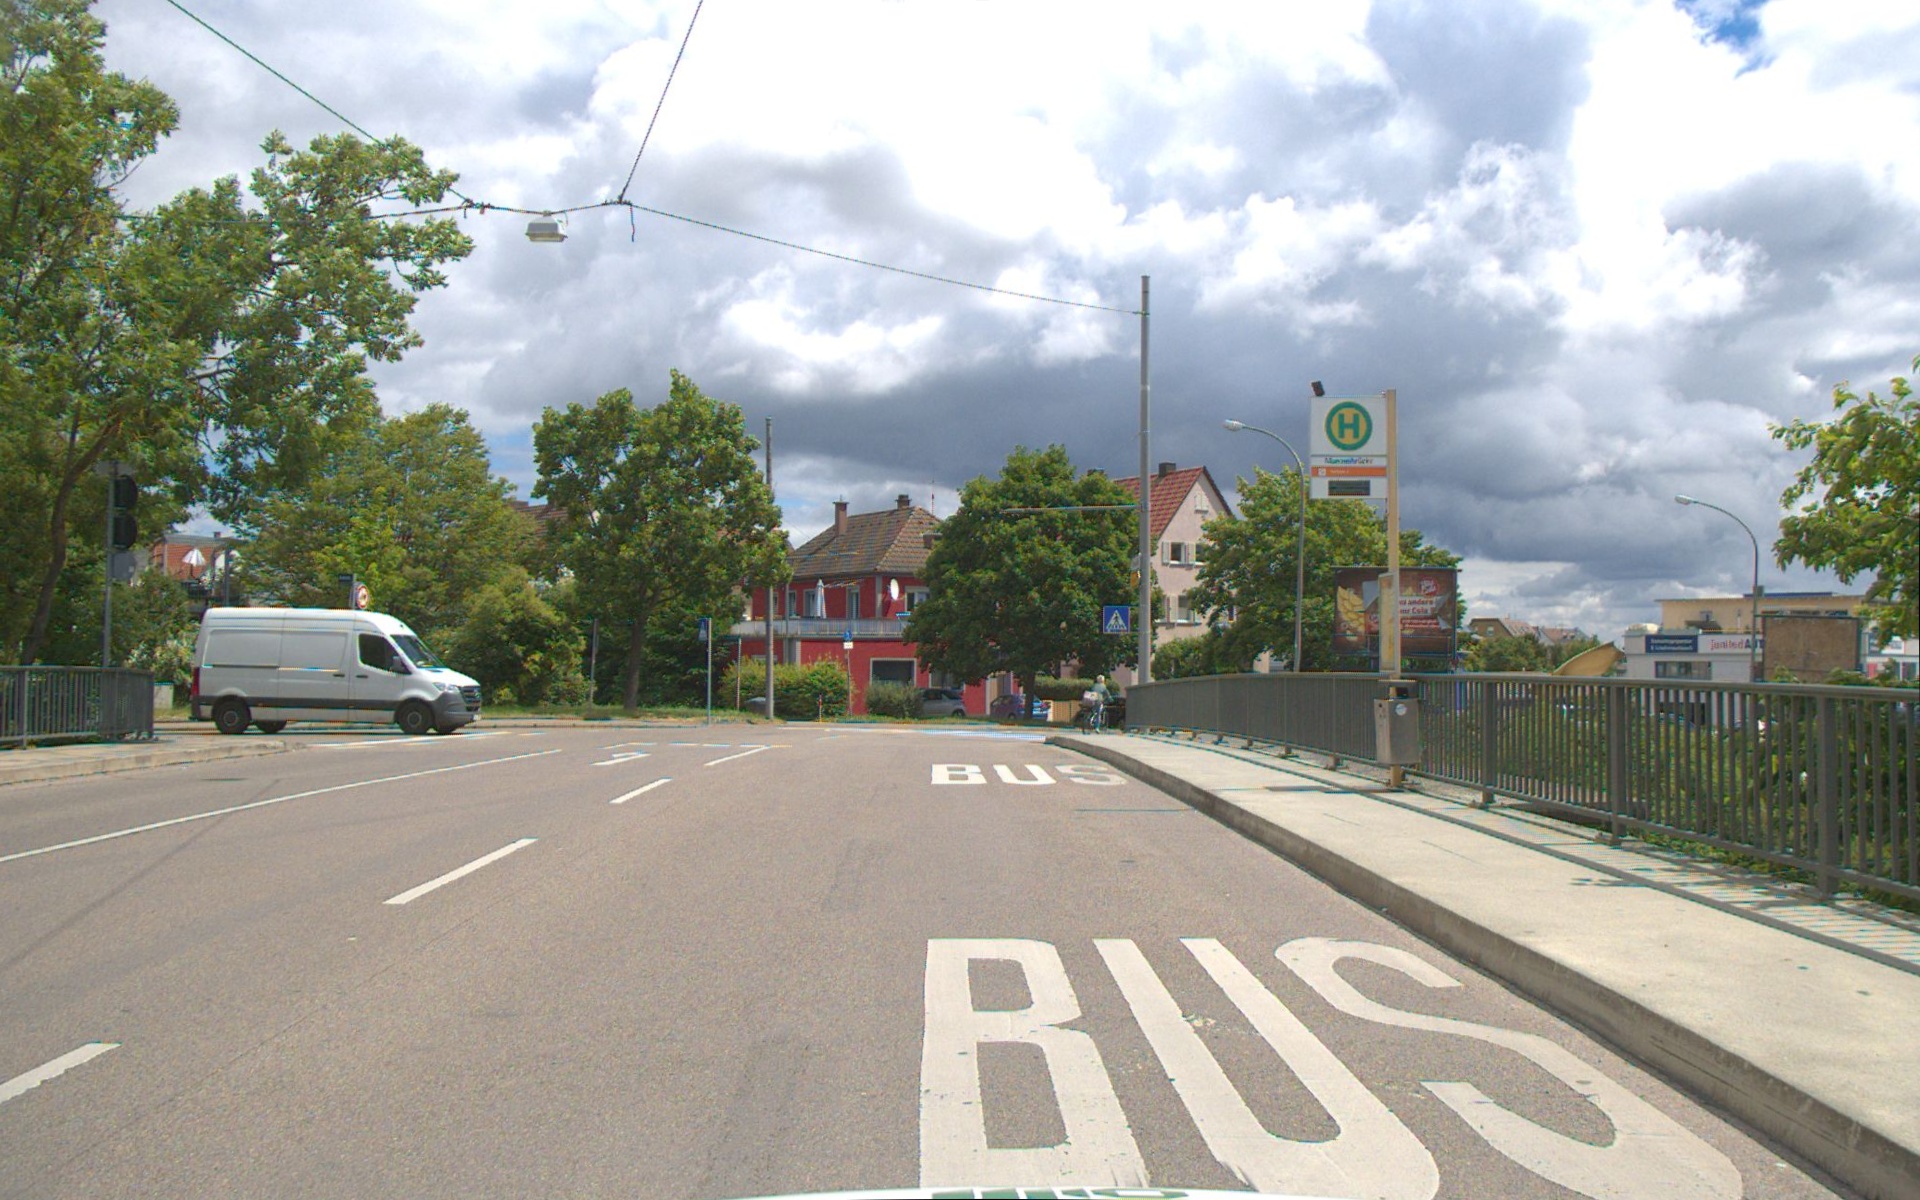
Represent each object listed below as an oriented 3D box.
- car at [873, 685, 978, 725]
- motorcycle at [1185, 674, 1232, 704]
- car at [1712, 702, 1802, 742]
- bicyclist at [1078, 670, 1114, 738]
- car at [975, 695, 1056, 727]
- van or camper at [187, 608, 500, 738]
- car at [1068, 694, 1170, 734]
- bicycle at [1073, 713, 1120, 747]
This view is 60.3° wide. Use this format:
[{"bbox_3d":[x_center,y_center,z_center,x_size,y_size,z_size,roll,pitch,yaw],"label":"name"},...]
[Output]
[{"bbox_3d":[-1.382,4.308,67.572,4.028,1.451,1.626,4,-4,-34],"label":"car"},{"bbox_3d":[11.989,4.287,79.738,2.209,1.339,0.909,5,-4,-35],"label":"motorcycle"},{"bbox_3d":[33.431,5.111,69.349,3.911,1.506,1.690,5,-4,-35],"label":"car"},{"bbox_3d":[3.862,2.950,46.831,0.671,1.858,1.079,-1,-7,25],"label":"bicyclist"},{"bbox_3d":[2.444,4.962,74.049,1.819,1.402,3.771,4,-5,-32],"label":"car"},{"bbox_3d":[-13.028,1.584,35.265,5.787,2.612,2.193,-1,-4,1],"label":"van or camper"},{"bbox_3d":[6.357,4.564,66.377,1.974,1.418,4.097,4,-3,-32],"label":"car"},{"bbox_3d":[3.878,3.689,46.830,0.674,0.894,2.100,-1,-6,24],"label":"bicycle"}]
